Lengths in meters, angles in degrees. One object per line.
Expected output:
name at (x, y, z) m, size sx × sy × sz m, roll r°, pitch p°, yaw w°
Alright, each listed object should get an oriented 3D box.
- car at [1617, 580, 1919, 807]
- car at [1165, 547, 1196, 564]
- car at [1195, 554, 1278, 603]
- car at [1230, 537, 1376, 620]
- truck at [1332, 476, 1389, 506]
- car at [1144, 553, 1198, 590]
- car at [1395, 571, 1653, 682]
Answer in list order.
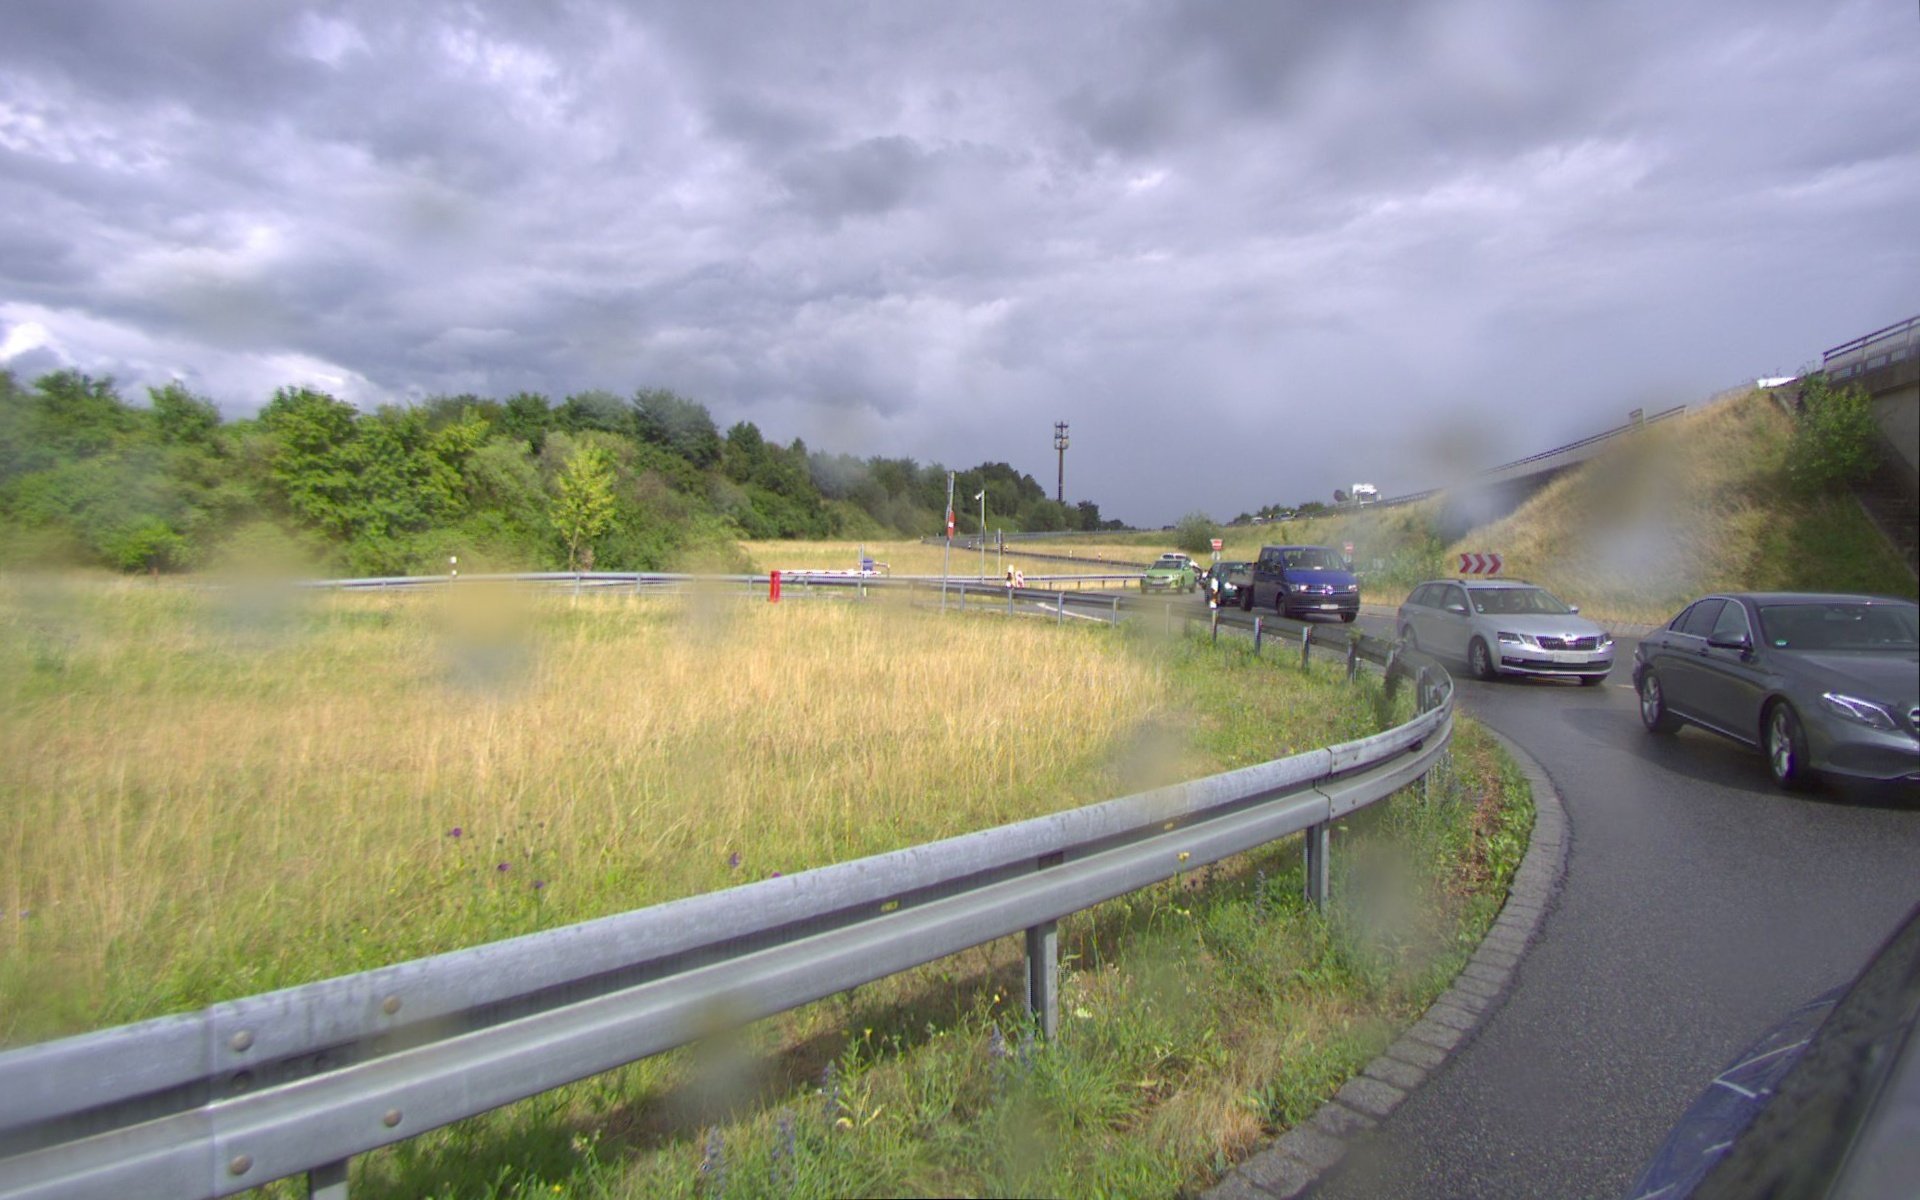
car at (7.354, 0.572, 8.518) m, size 1.747 × 1.408 × 4.569 m, roll 1°, pitch 2°, yaw 16°
car at (17.522, -3.562, 80.512) m, size 1.680 × 1.305 × 3.775 m, roll 1°, pitch 3°, yaw 1°
car at (9.122, -0.757, 33.684) m, size 1.625 × 1.492 × 3.849 m, roll 1°, pitch 3°, yaw -1°
car at (9.023, -0.695, 27.236) m, size 1.857 × 1.937 × 5.688 m, roll 1°, pitch 4°, yaw -1°
truck at (48.741, -13.223, 123.420) m, size 3.100 × 3.232 × 9.287 m, roll -1°, pitch 3°, yaw -1°
car at (9.130, -1.261, 43.652) m, size 1.600 × 1.492 × 3.819 m, roll 2°, pitch 3°, yaw 22°
car at (8.574, 0.298, 15.905) m, size 1.765 × 1.415 × 4.348 m, roll -1°, pitch 3°, yaw 3°
